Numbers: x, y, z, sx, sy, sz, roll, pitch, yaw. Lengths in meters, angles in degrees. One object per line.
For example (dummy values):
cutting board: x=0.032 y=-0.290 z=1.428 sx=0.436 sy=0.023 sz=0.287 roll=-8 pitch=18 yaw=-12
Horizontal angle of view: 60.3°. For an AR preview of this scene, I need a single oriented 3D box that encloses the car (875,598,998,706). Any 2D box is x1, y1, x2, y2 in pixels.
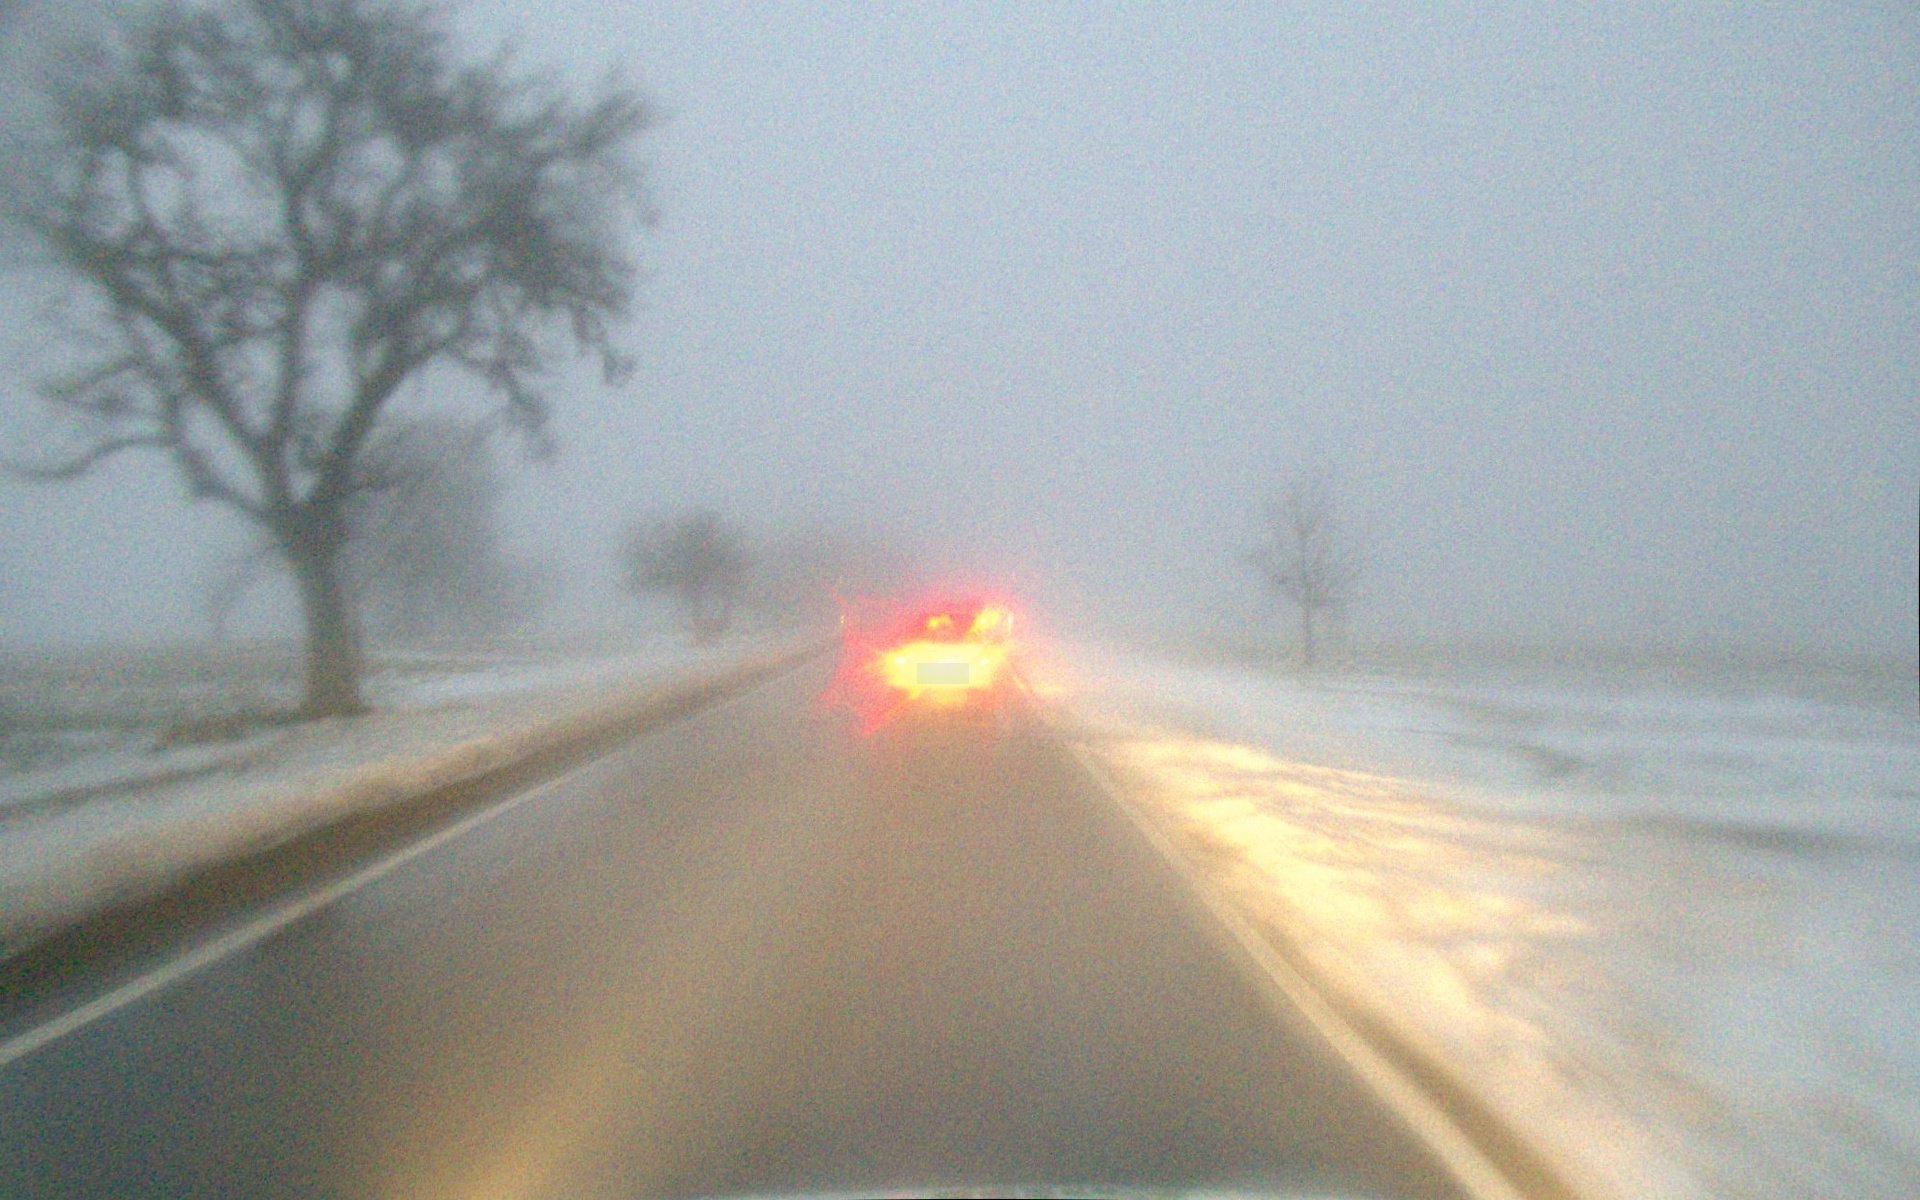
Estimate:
car: x=-0.435 y=0.764 z=25.831 sx=1.673 sy=1.489 sz=3.997 roll=2 pitch=-1 yaw=-4
